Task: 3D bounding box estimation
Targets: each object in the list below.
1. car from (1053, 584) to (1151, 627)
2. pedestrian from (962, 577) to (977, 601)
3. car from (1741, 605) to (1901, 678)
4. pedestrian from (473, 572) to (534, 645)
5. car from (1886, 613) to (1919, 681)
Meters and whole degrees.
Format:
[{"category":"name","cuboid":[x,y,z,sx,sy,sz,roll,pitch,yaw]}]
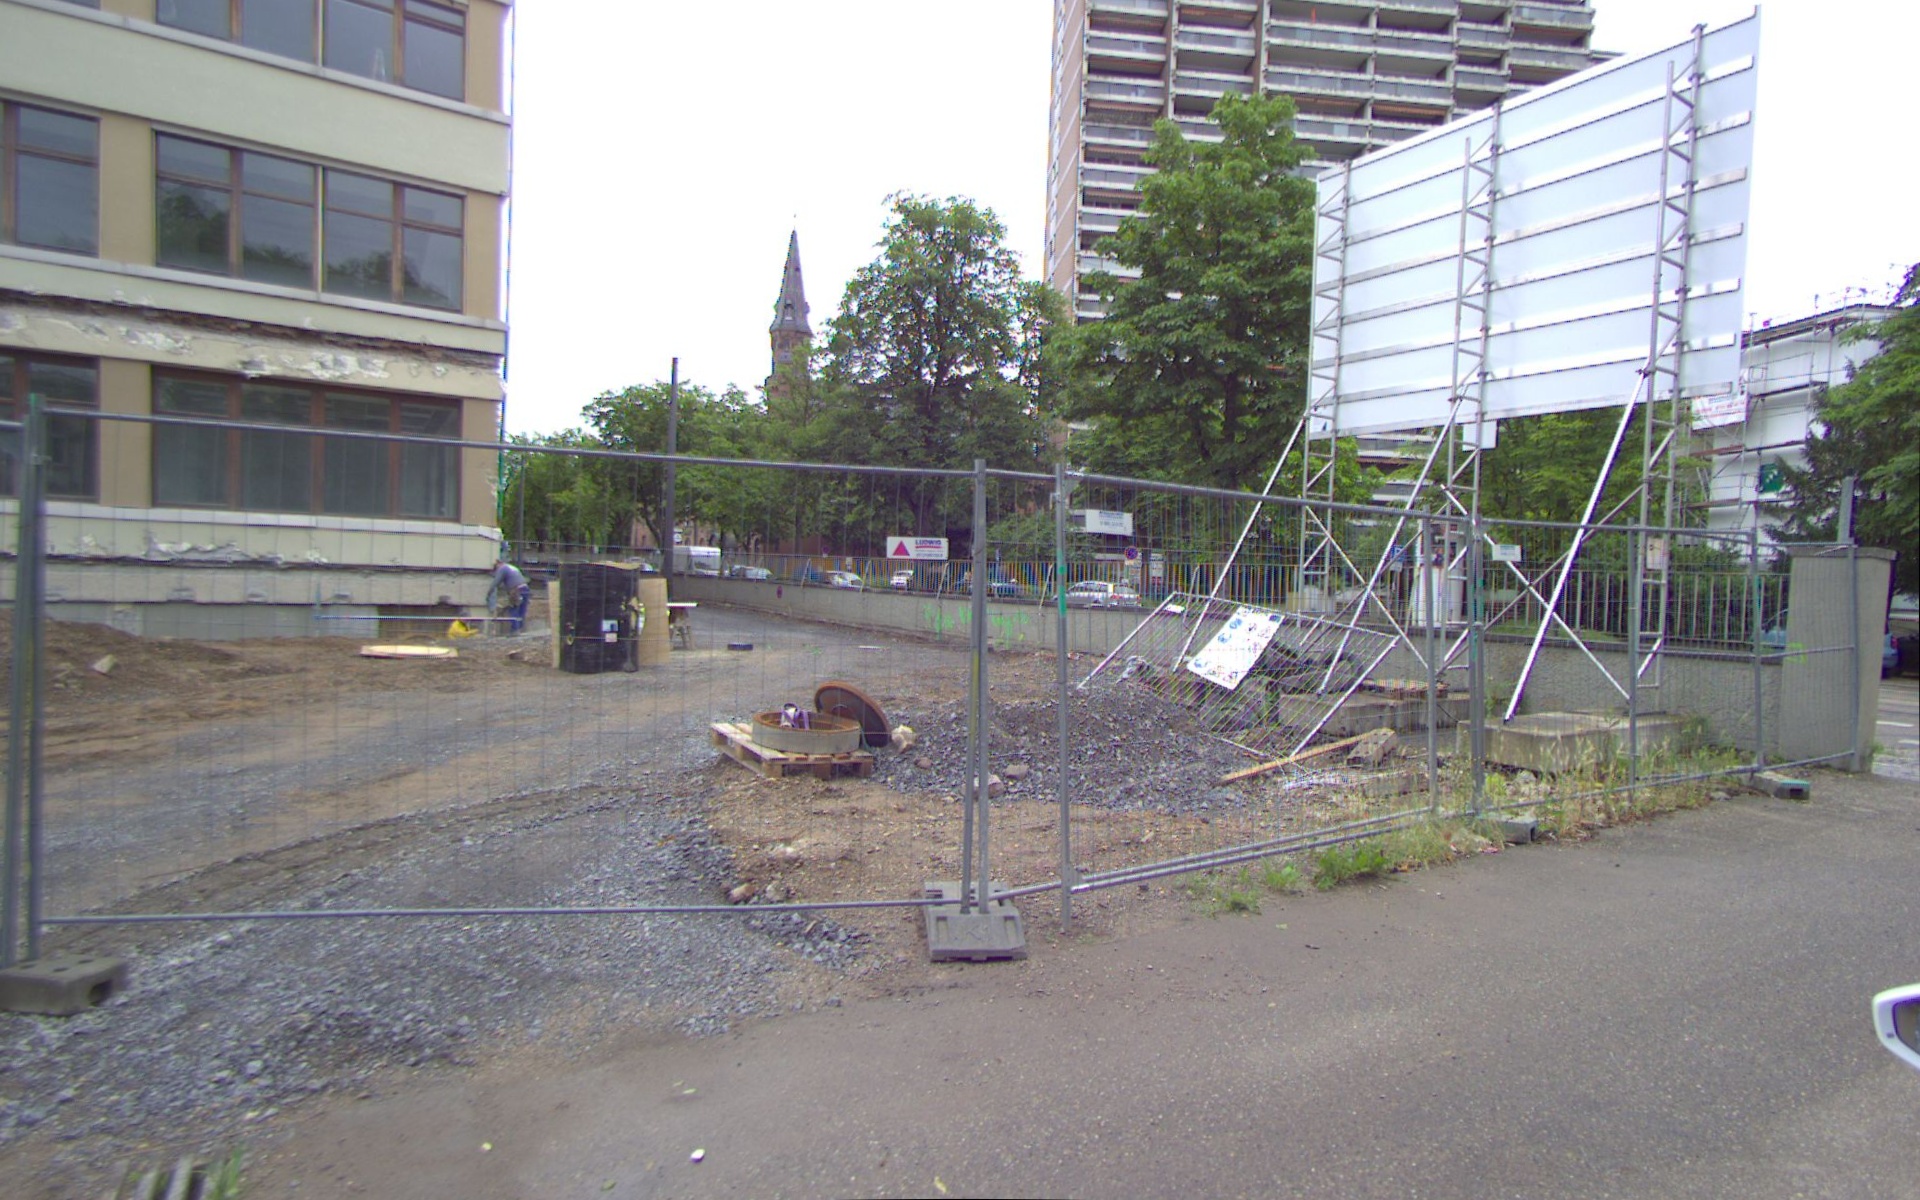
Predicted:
[{"category":"car","cuboid":[5.603,0.197,40.038,1.711,1.539,3.966,1,1,-31]},{"category":"pedestrian","cuboid":[0.632,-0.707,65.523,0.838,1.548,0.515,1,2,-44]},{"category":"car","cuboid":[20.977,0.961,24.634,1.586,1.557,3.338,2,1,14]},{"category":"pedestrian","cuboid":[-9.474,0.175,20.828,0.973,1.457,0.921,2,1,-35]},{"category":"car","cuboid":[22.450,1.102,22.097,1.586,1.531,3.338,2,1,14]}]
